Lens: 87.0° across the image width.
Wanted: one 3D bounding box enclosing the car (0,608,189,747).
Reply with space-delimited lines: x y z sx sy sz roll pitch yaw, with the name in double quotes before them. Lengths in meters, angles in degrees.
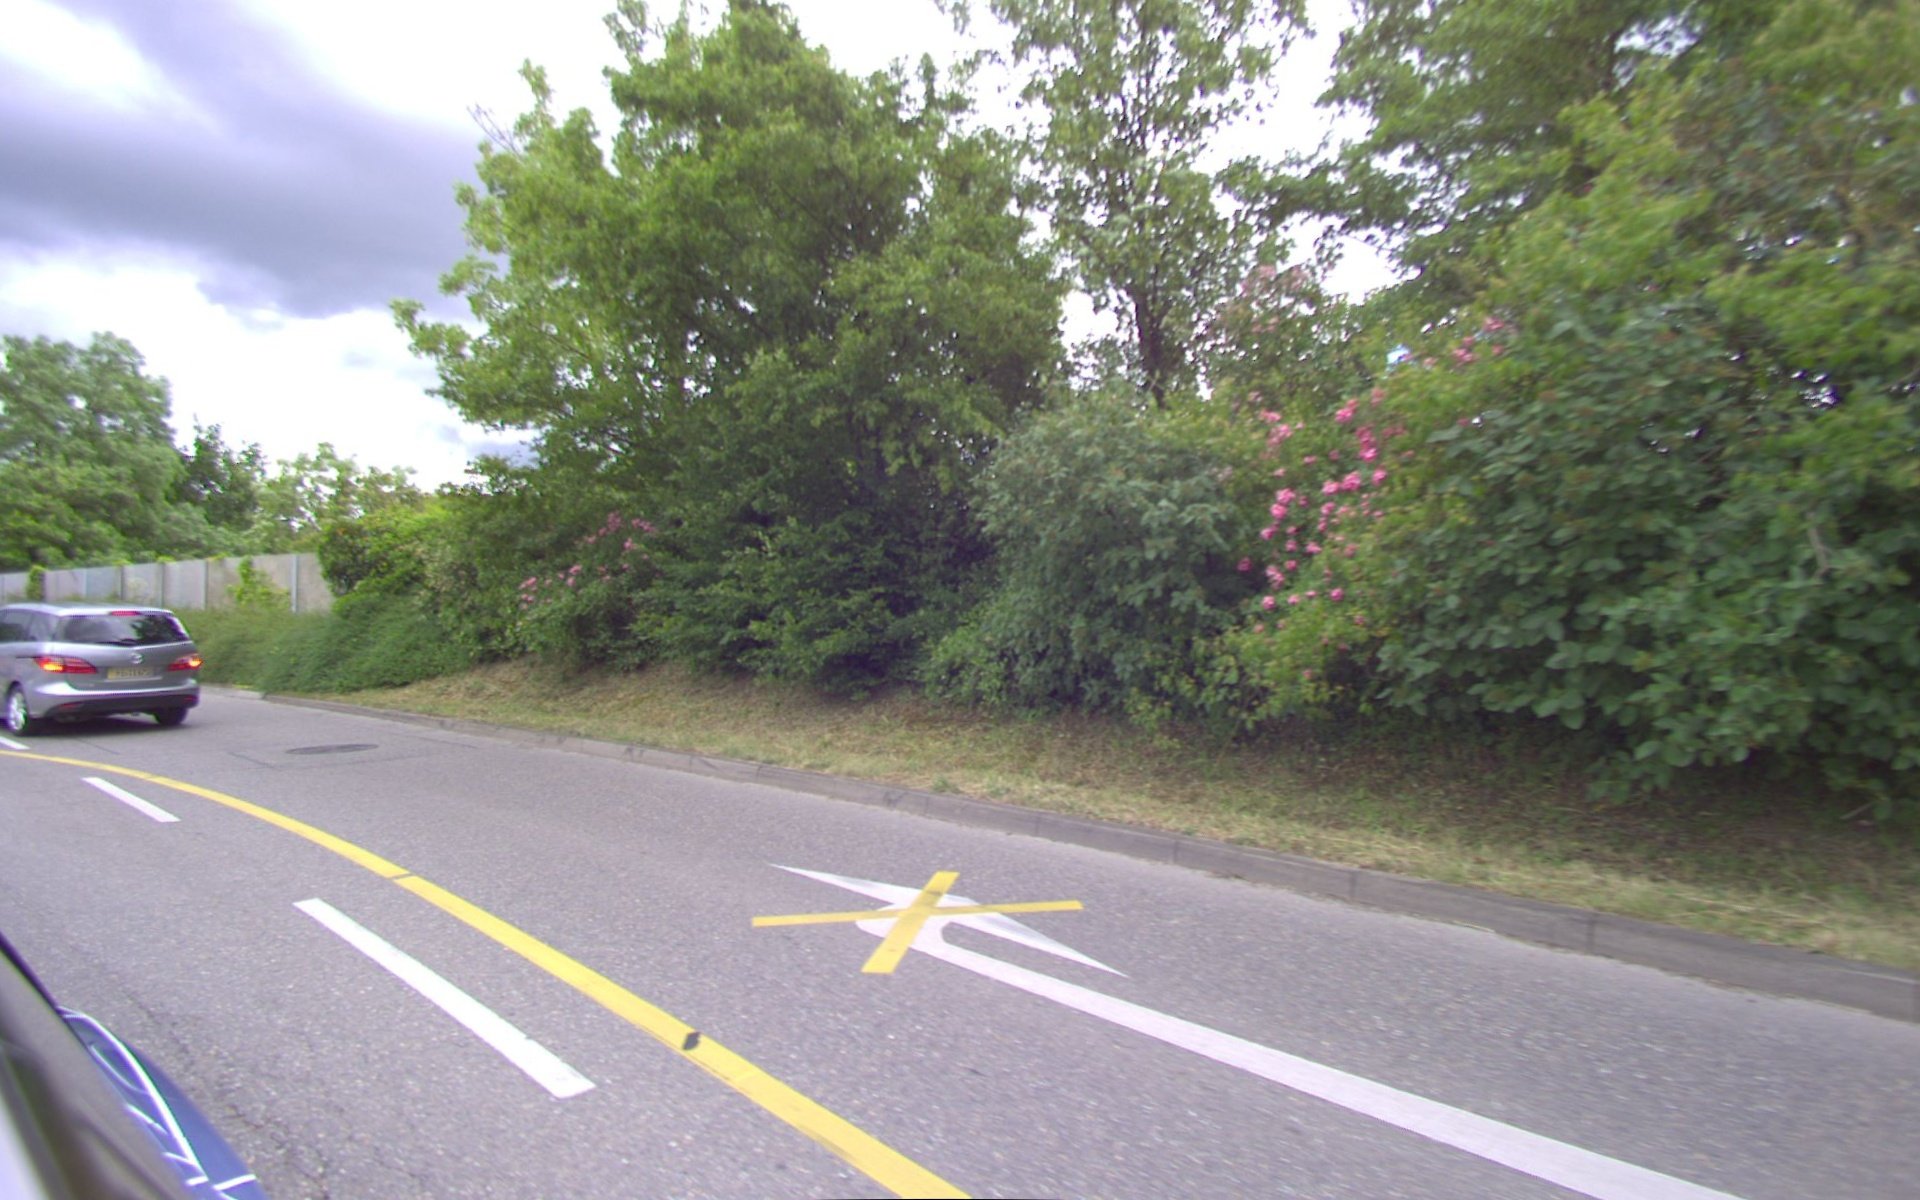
"car" -12.034 0.892 13.223 4.334 1.556 1.621 0 0 30
